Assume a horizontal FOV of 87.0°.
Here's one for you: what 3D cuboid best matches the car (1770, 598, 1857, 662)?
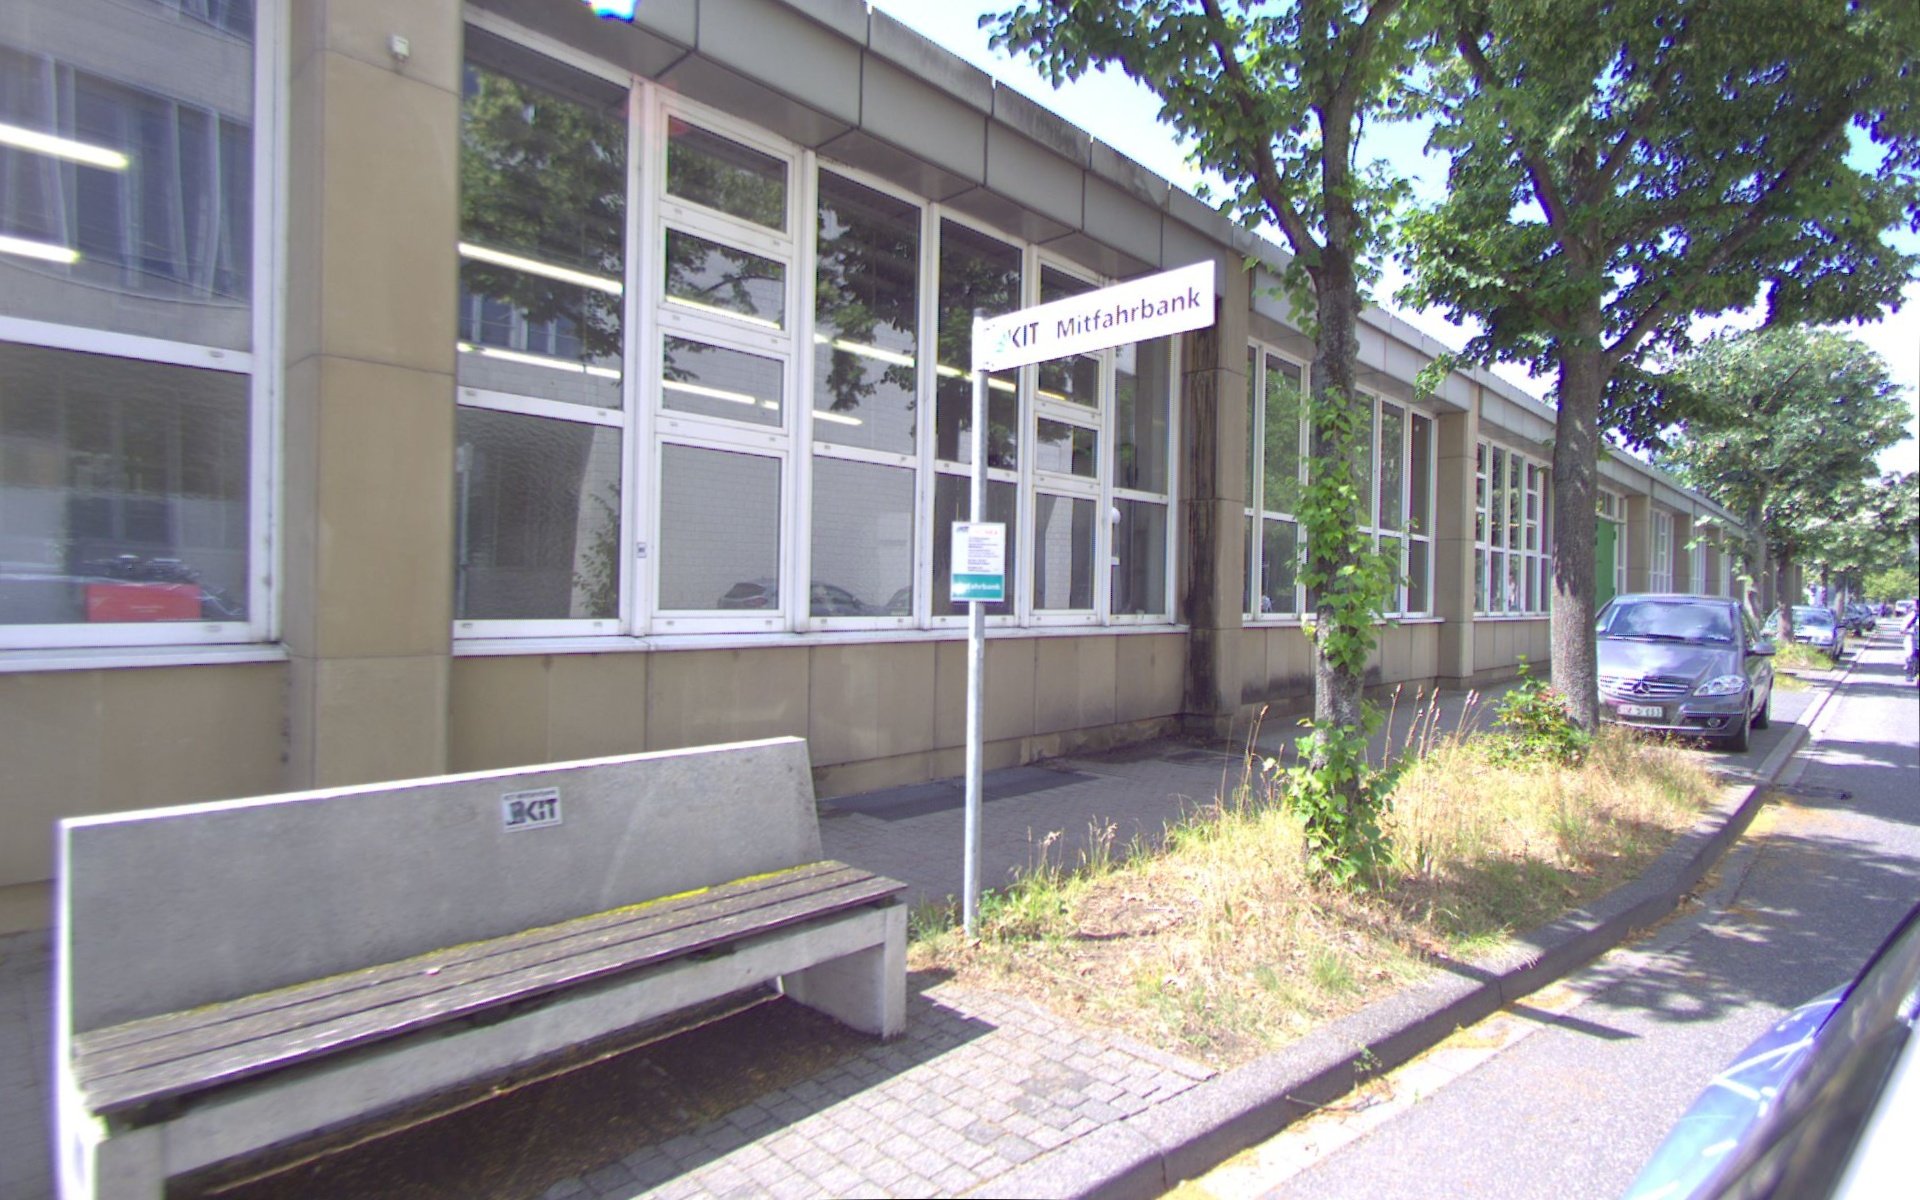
[{"bbox_3d":[23.425,0.765,27.734,1.618,1.530,3.758,4,3,43],"label":"car"}]

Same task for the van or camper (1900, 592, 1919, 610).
[{"bbox_3d":[129.164,0.196,136.419,4.291,2.391,2.004,1,1,-24],"label":"van or camper"}]

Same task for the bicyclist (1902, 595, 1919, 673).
[{"bbox_3d":[18.854,0.660,19.644,0.778,1.505,0.685,2,0,42],"label":"bicyclist"}]

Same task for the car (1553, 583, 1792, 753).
[{"bbox_3d":[8.352,0.650,11.734,1.756,1.588,3.758,3,2,43],"label":"car"}]

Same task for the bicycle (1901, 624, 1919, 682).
[{"bbox_3d":[18.792,1.024,19.581,0.778,1.061,1.884,2,1,41],"label":"bicycle"}]

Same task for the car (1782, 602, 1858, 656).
[{"bbox_3d":[26.940,0.855,31.663,1.618,1.481,3.758,4,3,43],"label":"car"}]

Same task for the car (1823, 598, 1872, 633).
[{"bbox_3d":[42.591,0.722,48.518,1.644,1.511,3.757,3,2,42],"label":"car"}]

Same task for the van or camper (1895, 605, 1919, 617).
[{"bbox_3d":[165.444,1.915,176.790,4.176,1.999,2.097,0,0,-33],"label":"van or camper"}]

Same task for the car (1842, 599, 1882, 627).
[{"bbox_3d":[53.418,0.755,59.908,1.644,1.511,3.757,3,2,42],"label":"car"}]
